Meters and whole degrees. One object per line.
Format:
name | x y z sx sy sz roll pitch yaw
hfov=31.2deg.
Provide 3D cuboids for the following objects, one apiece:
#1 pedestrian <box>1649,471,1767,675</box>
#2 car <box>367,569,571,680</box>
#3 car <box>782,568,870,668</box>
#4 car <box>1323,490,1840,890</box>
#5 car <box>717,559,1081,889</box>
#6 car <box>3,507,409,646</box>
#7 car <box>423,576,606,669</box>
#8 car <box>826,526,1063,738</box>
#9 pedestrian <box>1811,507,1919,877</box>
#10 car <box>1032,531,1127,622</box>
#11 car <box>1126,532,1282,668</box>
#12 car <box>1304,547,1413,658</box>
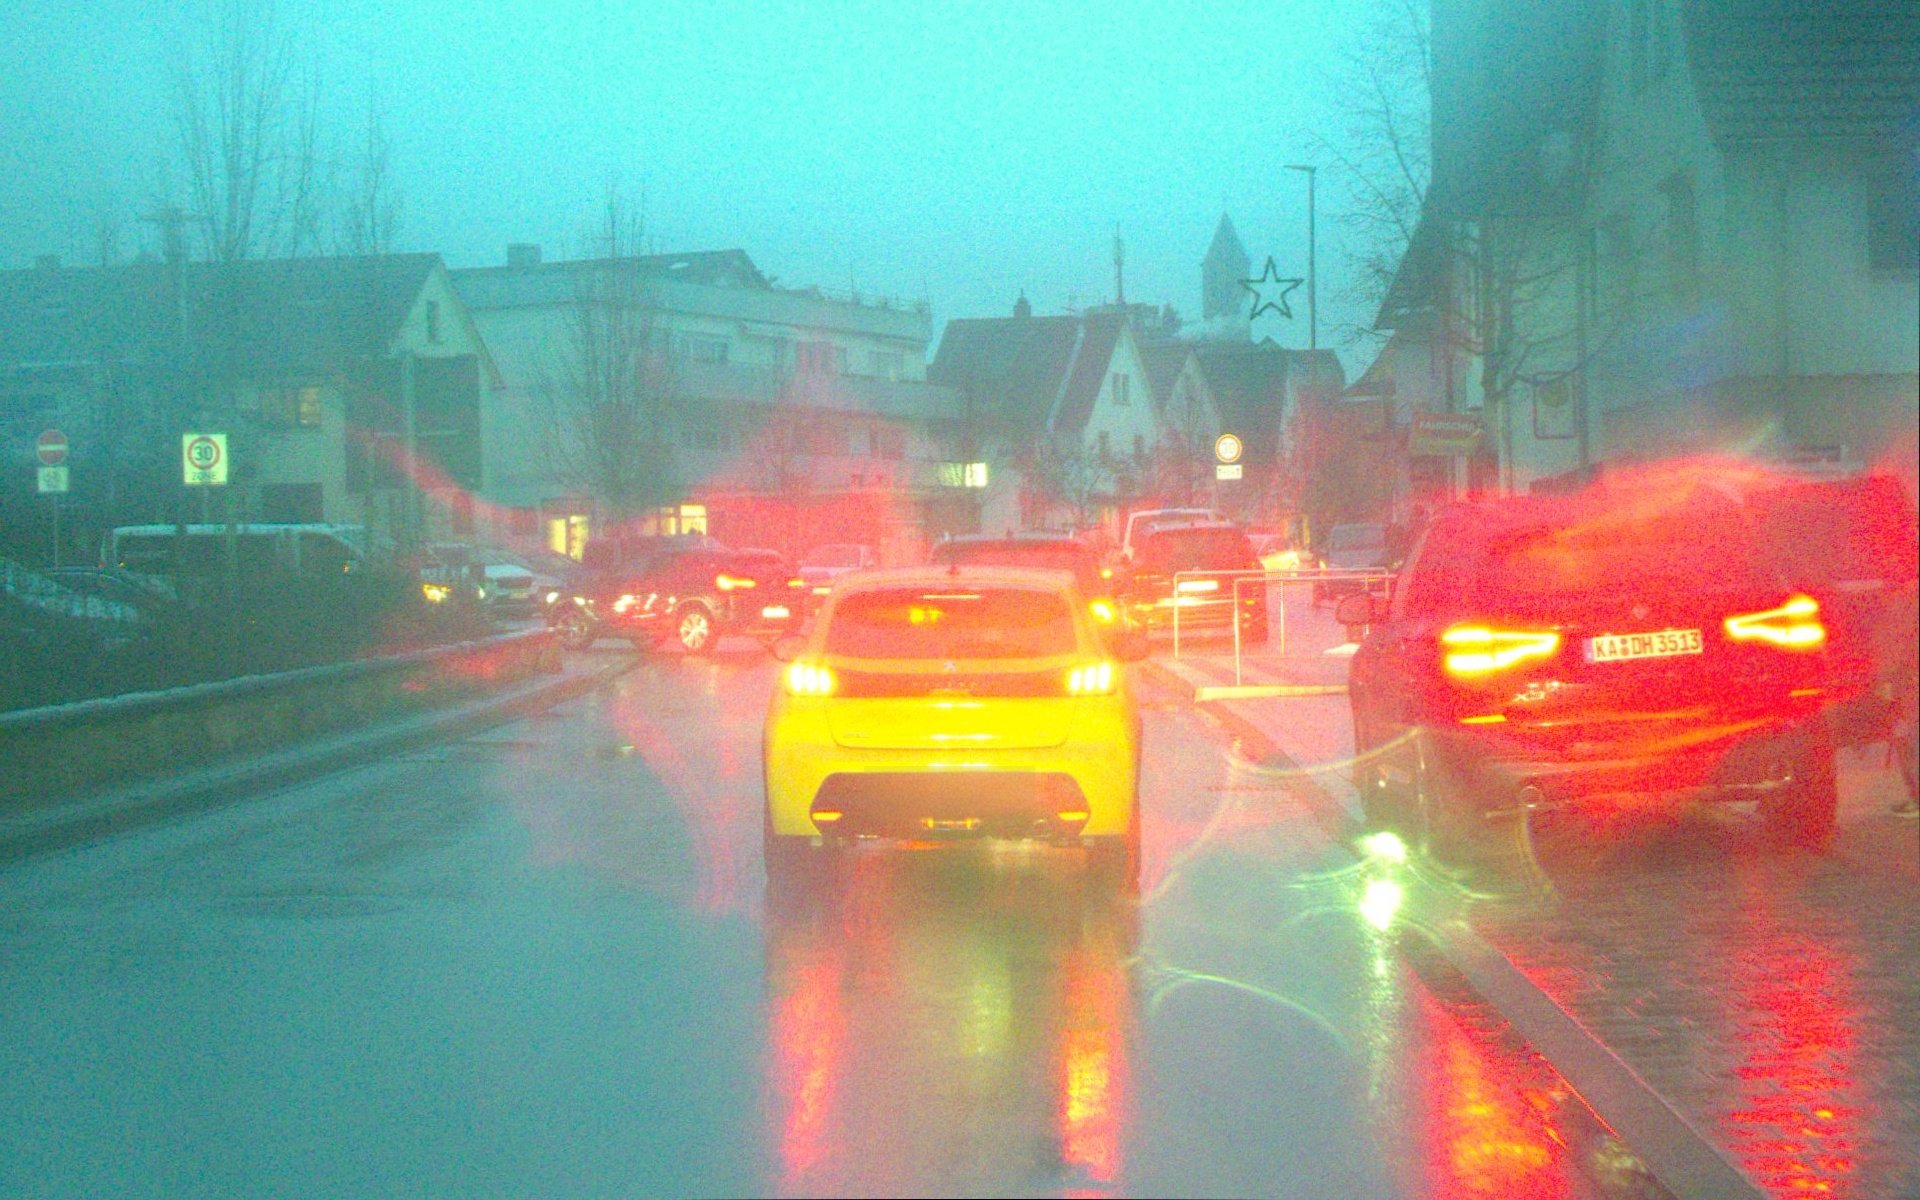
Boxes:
pedestrian | 5.637 -0.217 25.918 0.618 1.510 0.734 -1 2 -12
car | -10.375 0.534 72.499 1.995 2.244 4.383 2 -2 -45
car | -3.085 0.439 79.766 1.919 2.208 3.975 1 -2 -1
car | 2.894 0.365 16.926 1.735 1.686 4.386 -1 0 0
car | -0.246 0.519 16.434 1.563 1.408 3.018 1 1 1
car | -10.684 -0.345 48.723 5.400 1.811 1.711 1 0 15
car | -9.872 0.511 76.015 1.818 1.969 4.166 2 -2 -45
car | -0.068 0.222 28.474 1.766 1.623 3.585 1 1 3
pedestrian | 4.396 0.417 16.173 0.573 1.694 0.653 -2 0 2
car | 2.678 -0.502 77.843 1.993 2.007 4.000 0 0 0
car | 3.419 -0.004 48.839 1.997 1.858 4.083 0 0 1
car | 8.503 0.088 73.631 1.994 2.241 3.999 1 -2 3
